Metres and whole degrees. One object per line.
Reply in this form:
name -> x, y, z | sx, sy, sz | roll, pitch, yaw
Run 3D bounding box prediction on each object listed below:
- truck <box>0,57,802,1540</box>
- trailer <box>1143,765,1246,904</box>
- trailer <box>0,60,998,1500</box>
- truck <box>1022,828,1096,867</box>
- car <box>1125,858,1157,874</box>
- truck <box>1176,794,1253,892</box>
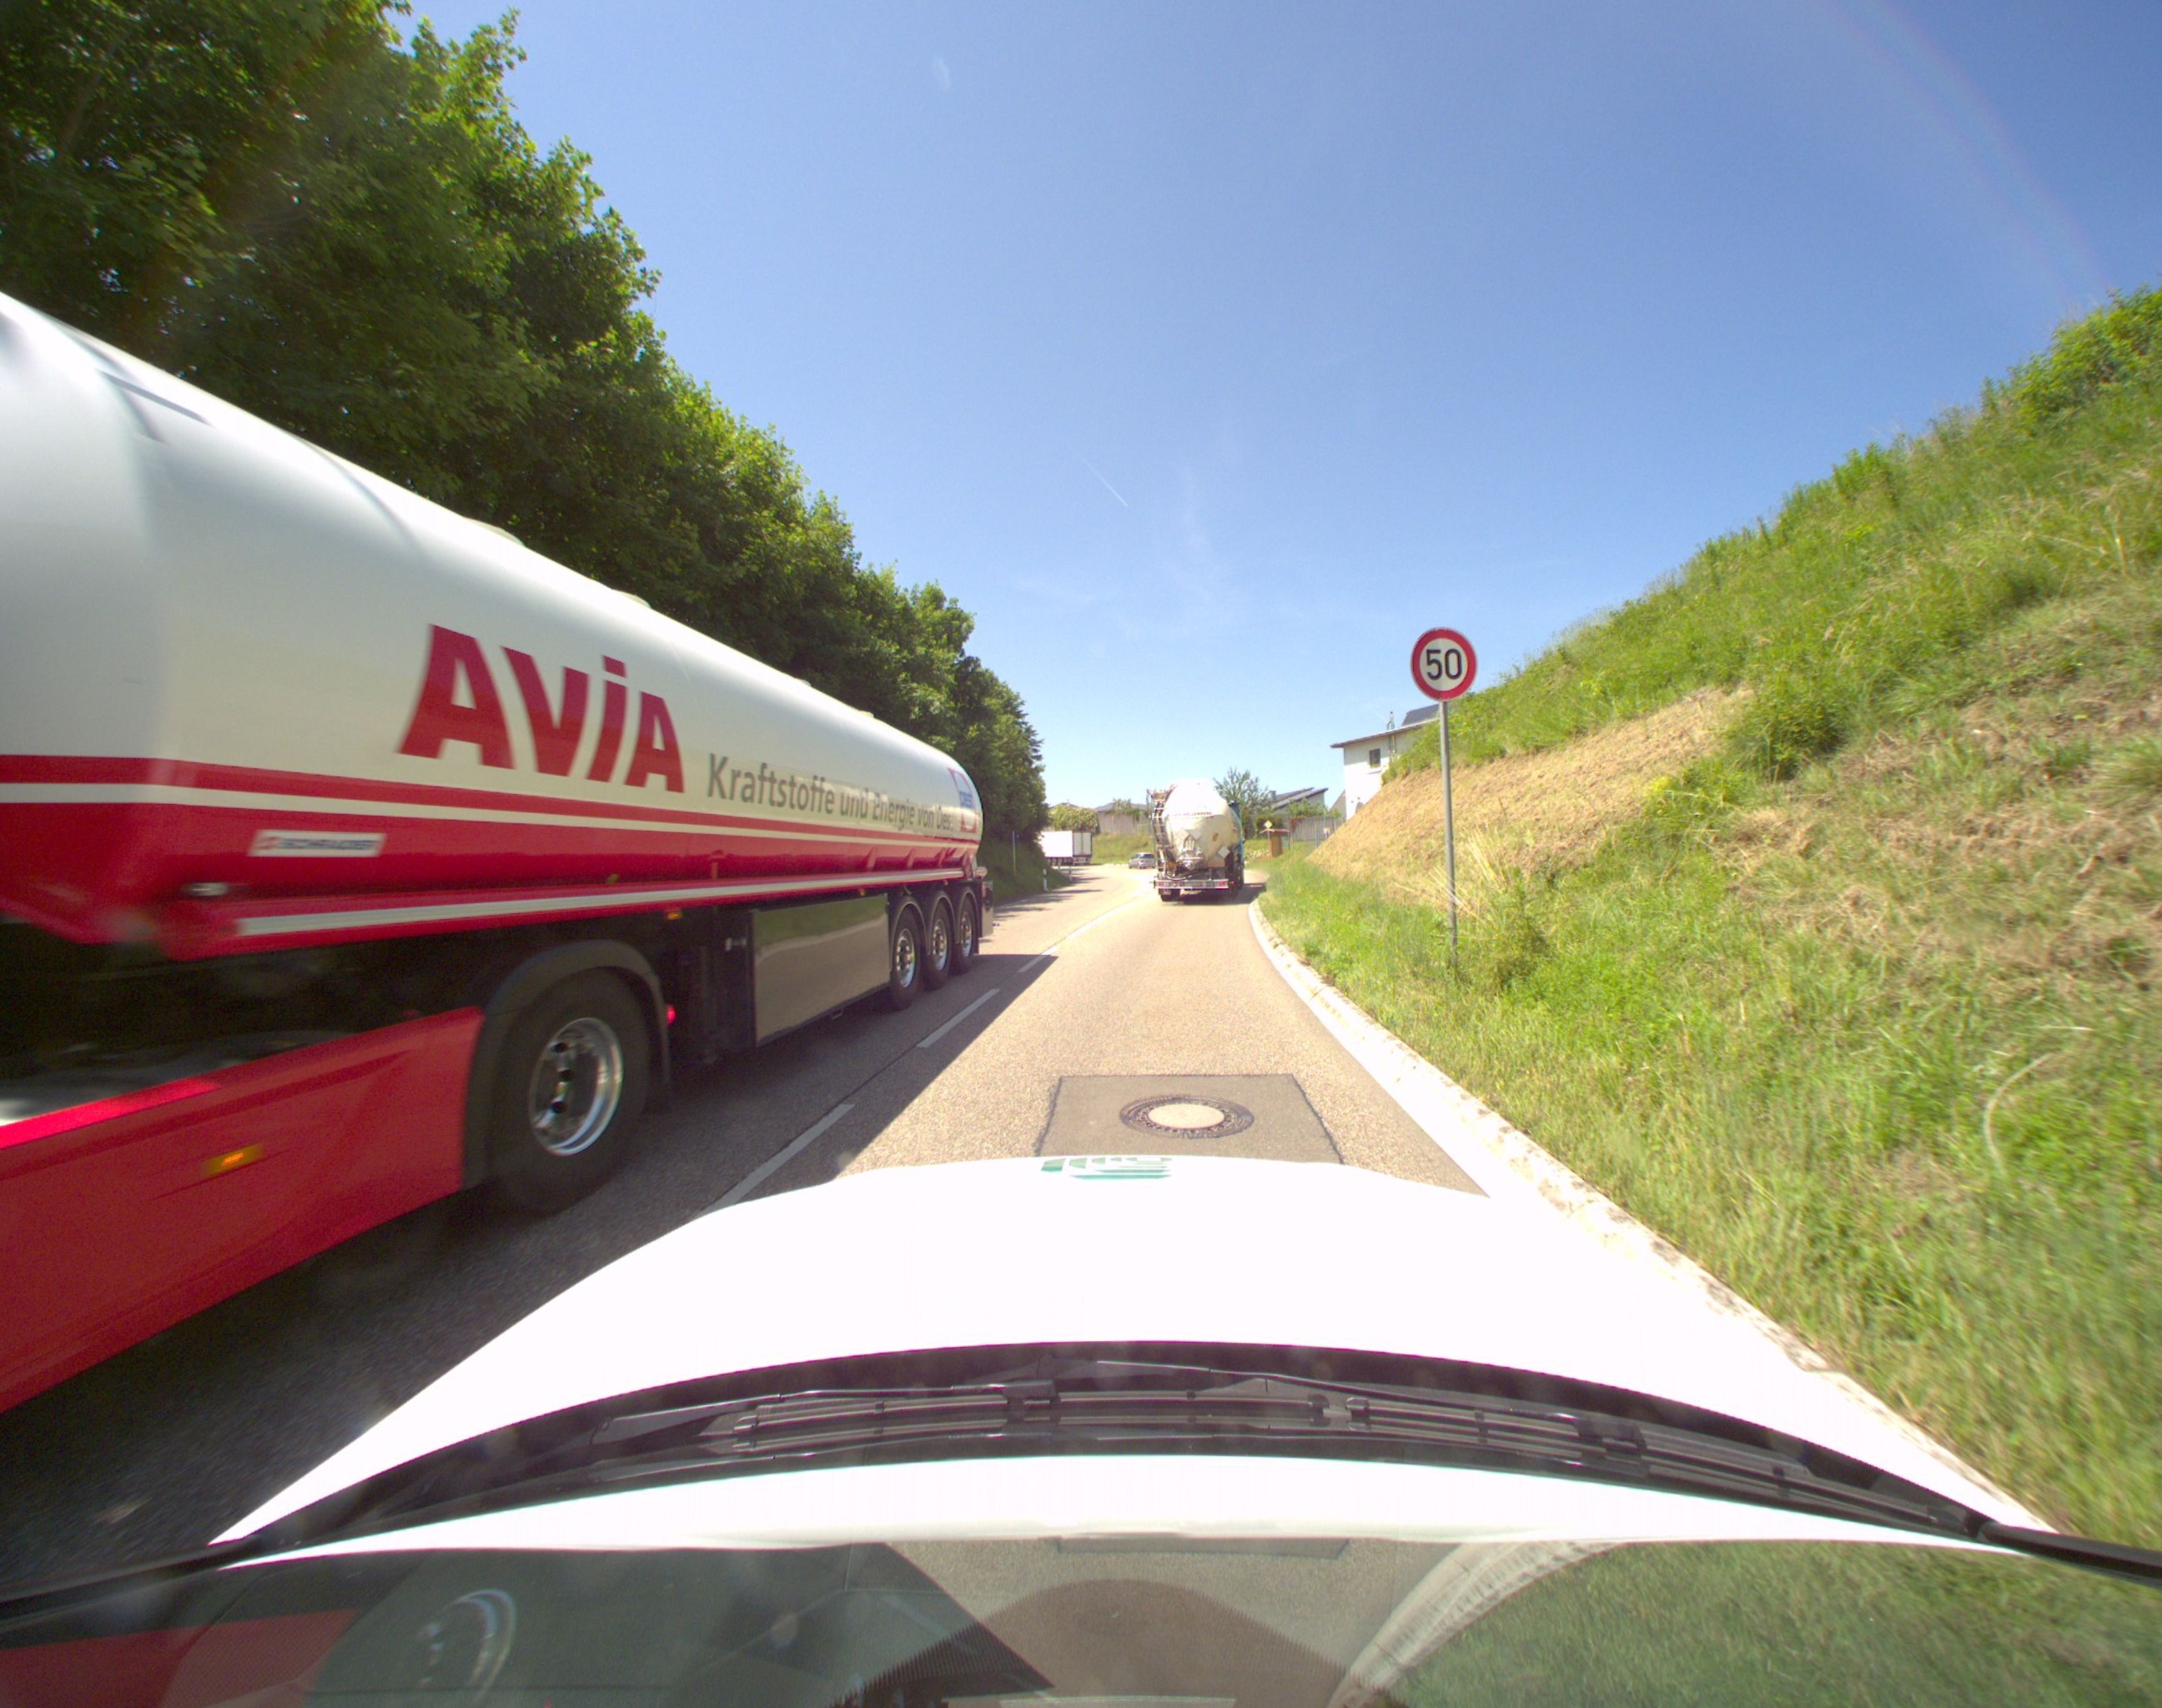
truck -> -3.575, -0.109, 2.310 | 2.614, 3.170, 7.076 | -1, -1, 5
trailer -> 4.622, -0.550, 30.644 | 2.642, 4.189, 11.947 | -1, 0, 14
trailer -> -3.125, -0.121, 7.550 | 2.620, 3.373, 11.157 | -1, -1, 5
truck -> -2.771, -0.762, 97.278 | 3.212, 4.310, 11.681 | 2, 0, -32
car -> 5.724, 1.142, 77.835 | 1.653, 1.509, 3.614 | 2, -1, -20
truck -> 6.154, -0.380, 36.621 | 2.707, 3.930, 7.291 | -1, -1, 15
